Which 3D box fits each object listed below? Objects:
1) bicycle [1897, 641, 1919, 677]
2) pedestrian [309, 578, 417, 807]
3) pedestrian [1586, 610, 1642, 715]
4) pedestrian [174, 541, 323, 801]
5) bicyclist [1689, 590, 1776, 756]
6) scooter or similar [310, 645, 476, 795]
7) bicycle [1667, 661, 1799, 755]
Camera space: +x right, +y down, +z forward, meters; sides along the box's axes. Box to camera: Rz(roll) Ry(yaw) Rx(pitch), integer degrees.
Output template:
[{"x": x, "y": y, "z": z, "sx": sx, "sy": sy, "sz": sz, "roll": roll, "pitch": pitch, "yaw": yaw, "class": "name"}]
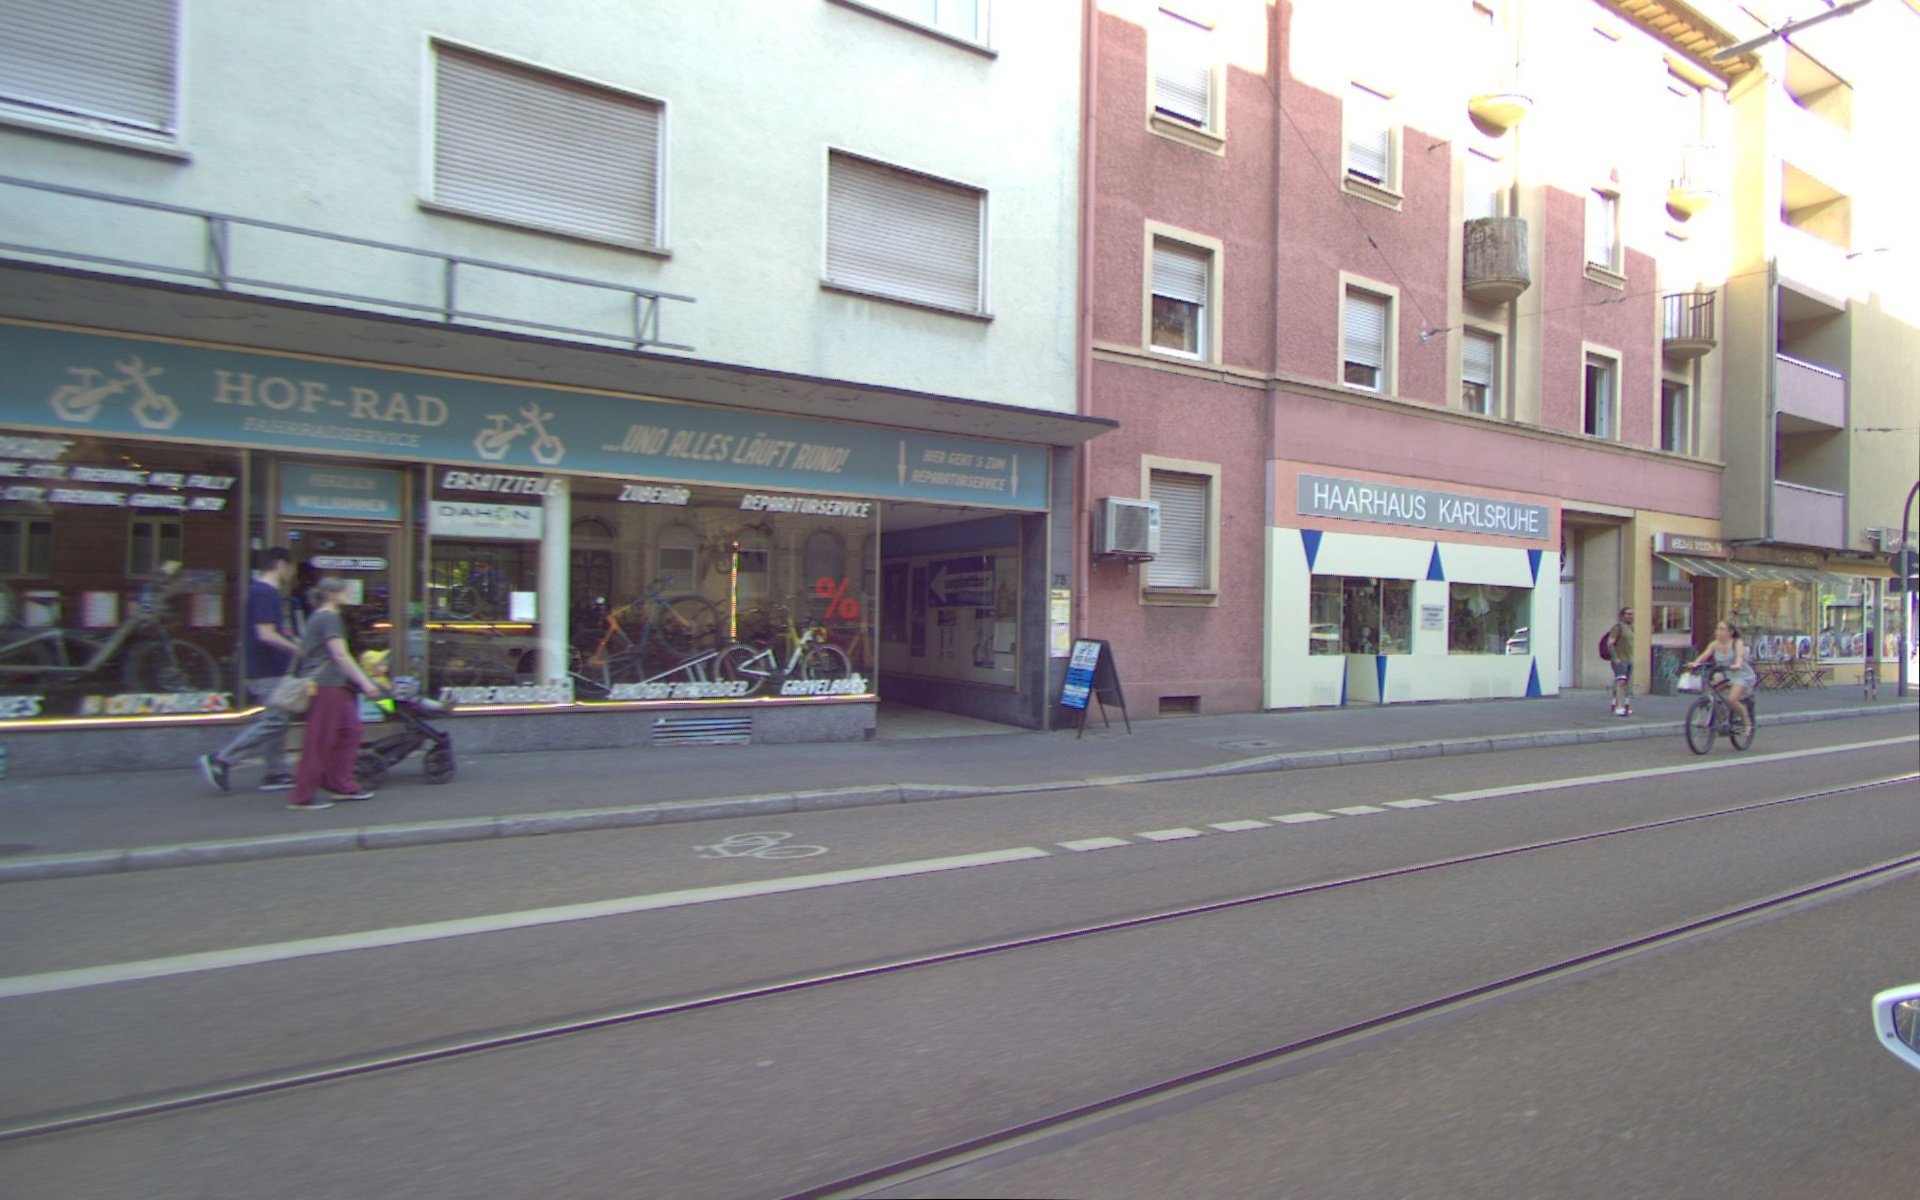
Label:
[{"x": 33.932, "y": 2.084, "z": 35.578, "sx": 2.413, "sy": 1.124, "sz": 0.676, "roll": -1, "pitch": 1, "yaw": -38, "class": "bicycle"}, {"x": -4.336, "y": 0.641, "z": 7.315, "sx": 0.616, "sy": 1.569, "sz": 0.632, "roll": 2, "pitch": 0, "yaw": -31, "class": "pedestrian"}, {"x": 10.982, "y": 1.032, "z": 16.865, "sx": 0.609, "sy": 1.708, "sz": 0.560, "roll": 2, "pitch": 0, "yaw": -32, "class": "pedestrian"}, {"x": -5.265, "y": 0.503, "z": 7.482, "sx": 0.811, "sy": 1.813, "sz": 0.622, "roll": 2, "pitch": 0, "yaw": -31, "class": "pedestrian"}, {"x": 9.808, "y": 0.906, "z": 12.758, "sx": 0.725, "sy": 2.040, "sz": 0.609, "roll": 2, "pitch": 0, "yaw": -30, "class": "bicyclist"}, {"x": -4.488, "y": 0.915, "z": 7.988, "sx": 1.092, "sy": 1.075, "sz": 0.658, "roll": 1, "pitch": 0, "yaw": -30, "class": "scooter or similar"}, {"x": 9.843, "y": 1.336, "z": 12.767, "sx": 2.020, "sy": 1.110, "sz": 0.599, "roll": 2, "pitch": -3, "yaw": -31, "class": "bicycle"}]
